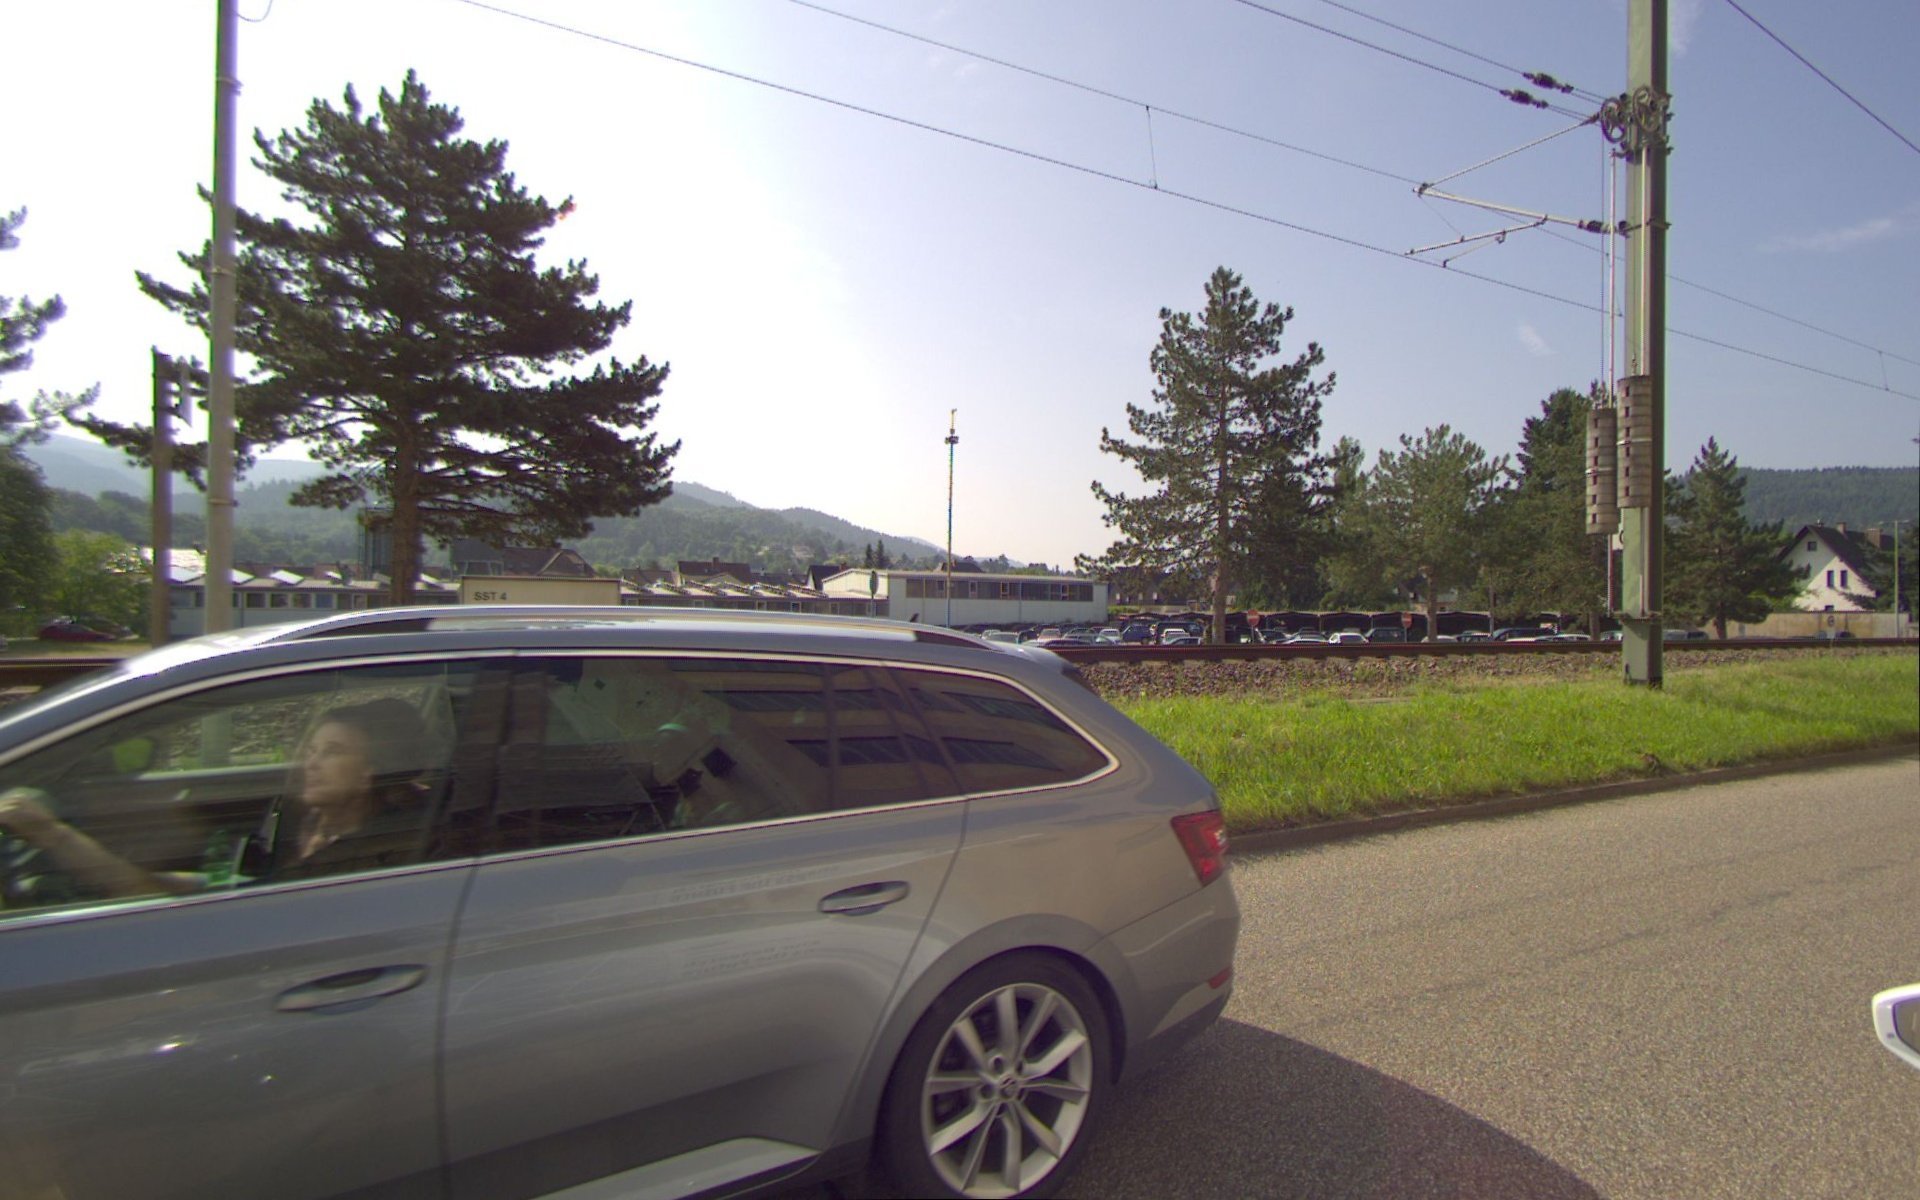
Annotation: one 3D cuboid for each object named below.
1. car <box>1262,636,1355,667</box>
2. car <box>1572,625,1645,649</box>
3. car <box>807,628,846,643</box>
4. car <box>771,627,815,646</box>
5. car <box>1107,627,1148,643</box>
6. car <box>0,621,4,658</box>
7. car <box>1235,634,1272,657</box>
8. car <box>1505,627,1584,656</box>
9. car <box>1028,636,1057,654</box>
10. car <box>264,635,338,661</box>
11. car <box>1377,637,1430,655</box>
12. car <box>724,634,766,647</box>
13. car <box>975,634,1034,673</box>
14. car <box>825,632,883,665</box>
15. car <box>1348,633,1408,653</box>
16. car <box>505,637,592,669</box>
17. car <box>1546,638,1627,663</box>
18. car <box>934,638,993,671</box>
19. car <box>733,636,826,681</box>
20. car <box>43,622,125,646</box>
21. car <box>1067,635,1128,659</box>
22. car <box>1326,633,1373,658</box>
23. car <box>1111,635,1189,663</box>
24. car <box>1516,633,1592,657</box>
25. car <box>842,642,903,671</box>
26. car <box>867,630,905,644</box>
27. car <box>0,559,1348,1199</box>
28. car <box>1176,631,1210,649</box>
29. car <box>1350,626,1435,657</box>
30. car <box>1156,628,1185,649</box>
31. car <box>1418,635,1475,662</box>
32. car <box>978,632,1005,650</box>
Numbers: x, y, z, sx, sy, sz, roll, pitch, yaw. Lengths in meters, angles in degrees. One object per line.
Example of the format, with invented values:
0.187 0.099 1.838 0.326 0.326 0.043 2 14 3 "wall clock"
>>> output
15.727 2.316 45.480 3.779 1.343 1.566 0 -2 9 "car"
46.004 2.576 71.301 1.802 1.557 3.957 1 0 -37 "car"
-12.678 3.373 95.712 3.402 1.343 1.434 1 -2 -30 "car"
-14.423 3.143 86.658 3.466 1.543 1.568 0 -1 4 "car"
14.318 2.971 85.801 3.465 1.343 1.458 0 -1 10 "car"
-42.298 1.647 41.465 3.966 1.568 1.665 2 -2 -39 "car"
18.001 2.753 61.728 1.428 1.343 3.539 0 -2 4 "car"
35.087 2.463 60.340 3.729 1.710 1.647 0 -1 7 "car"
6.175 3.374 75.672 1.430 1.343 3.532 0 -2 -8 "car"
-43.725 3.185 66.759 1.655 1.664 3.852 0 -2 22 "car"
34.445 3.590 78.054 3.489 1.343 1.448 -1 -2 45 "car"
-19.534 3.692 91.378 3.496 1.125 1.328 1 -2 -31 "car"
1.946 2.250 43.025 1.654 1.526 3.854 0 -2 17 "car"
-5.518 2.498 52.650 1.654 1.664 3.854 0 -2 17 "car"
28.235 2.880 67.902 3.465 1.343 1.458 0 -1 7 "car"
-18.384 2.339 45.040 1.654 1.350 3.855 0 -2 13 "car"
34.506 2.773 55.381 3.465 1.343 1.458 0 -1 7 "car"
0.200 2.456 45.806 1.654 1.408 3.854 0 -2 17 "car"
-6.286 1.998 35.320 1.654 1.462 3.854 0 -2 17 "car"
-56.826 2.212 65.238 3.816 1.500 1.480 2 -2 -37 "car"
7.632 2.604 55.827 3.274 1.285 1.458 0 -1 7 "car"
21.535 2.504 55.639 1.428 1.343 3.538 0 -2 3 "car"
9.705 2.497 51.242 3.779 1.343 1.566 0 -2 15 "car"
34.311 2.605 58.061 3.465 1.343 1.458 0 -1 7 "car"
-4.002 2.589 46.626 1.536 1.278 3.854 0 -2 17 "car"
-7.265 3.634 98.515 3.496 1.343 1.445 1 -2 -31 "car"
-1.112 0.689 2.602 4.248 1.424 1.759 1 -2 -32 "car"
17.851 3.069 77.059 1.430 1.343 3.532 0 -2 -8 "car"
20.160 1.927 46.963 3.450 1.375 1.520 0 -2 15 "car"
14.338 2.608 68.468 1.428 1.343 3.539 0 -2 4 "car"
25.686 2.557 53.131 1.428 1.343 3.538 0 -2 3 "car"
2.377 3.093 76.001 1.430 1.343 3.532 0 -2 -8 "car"
